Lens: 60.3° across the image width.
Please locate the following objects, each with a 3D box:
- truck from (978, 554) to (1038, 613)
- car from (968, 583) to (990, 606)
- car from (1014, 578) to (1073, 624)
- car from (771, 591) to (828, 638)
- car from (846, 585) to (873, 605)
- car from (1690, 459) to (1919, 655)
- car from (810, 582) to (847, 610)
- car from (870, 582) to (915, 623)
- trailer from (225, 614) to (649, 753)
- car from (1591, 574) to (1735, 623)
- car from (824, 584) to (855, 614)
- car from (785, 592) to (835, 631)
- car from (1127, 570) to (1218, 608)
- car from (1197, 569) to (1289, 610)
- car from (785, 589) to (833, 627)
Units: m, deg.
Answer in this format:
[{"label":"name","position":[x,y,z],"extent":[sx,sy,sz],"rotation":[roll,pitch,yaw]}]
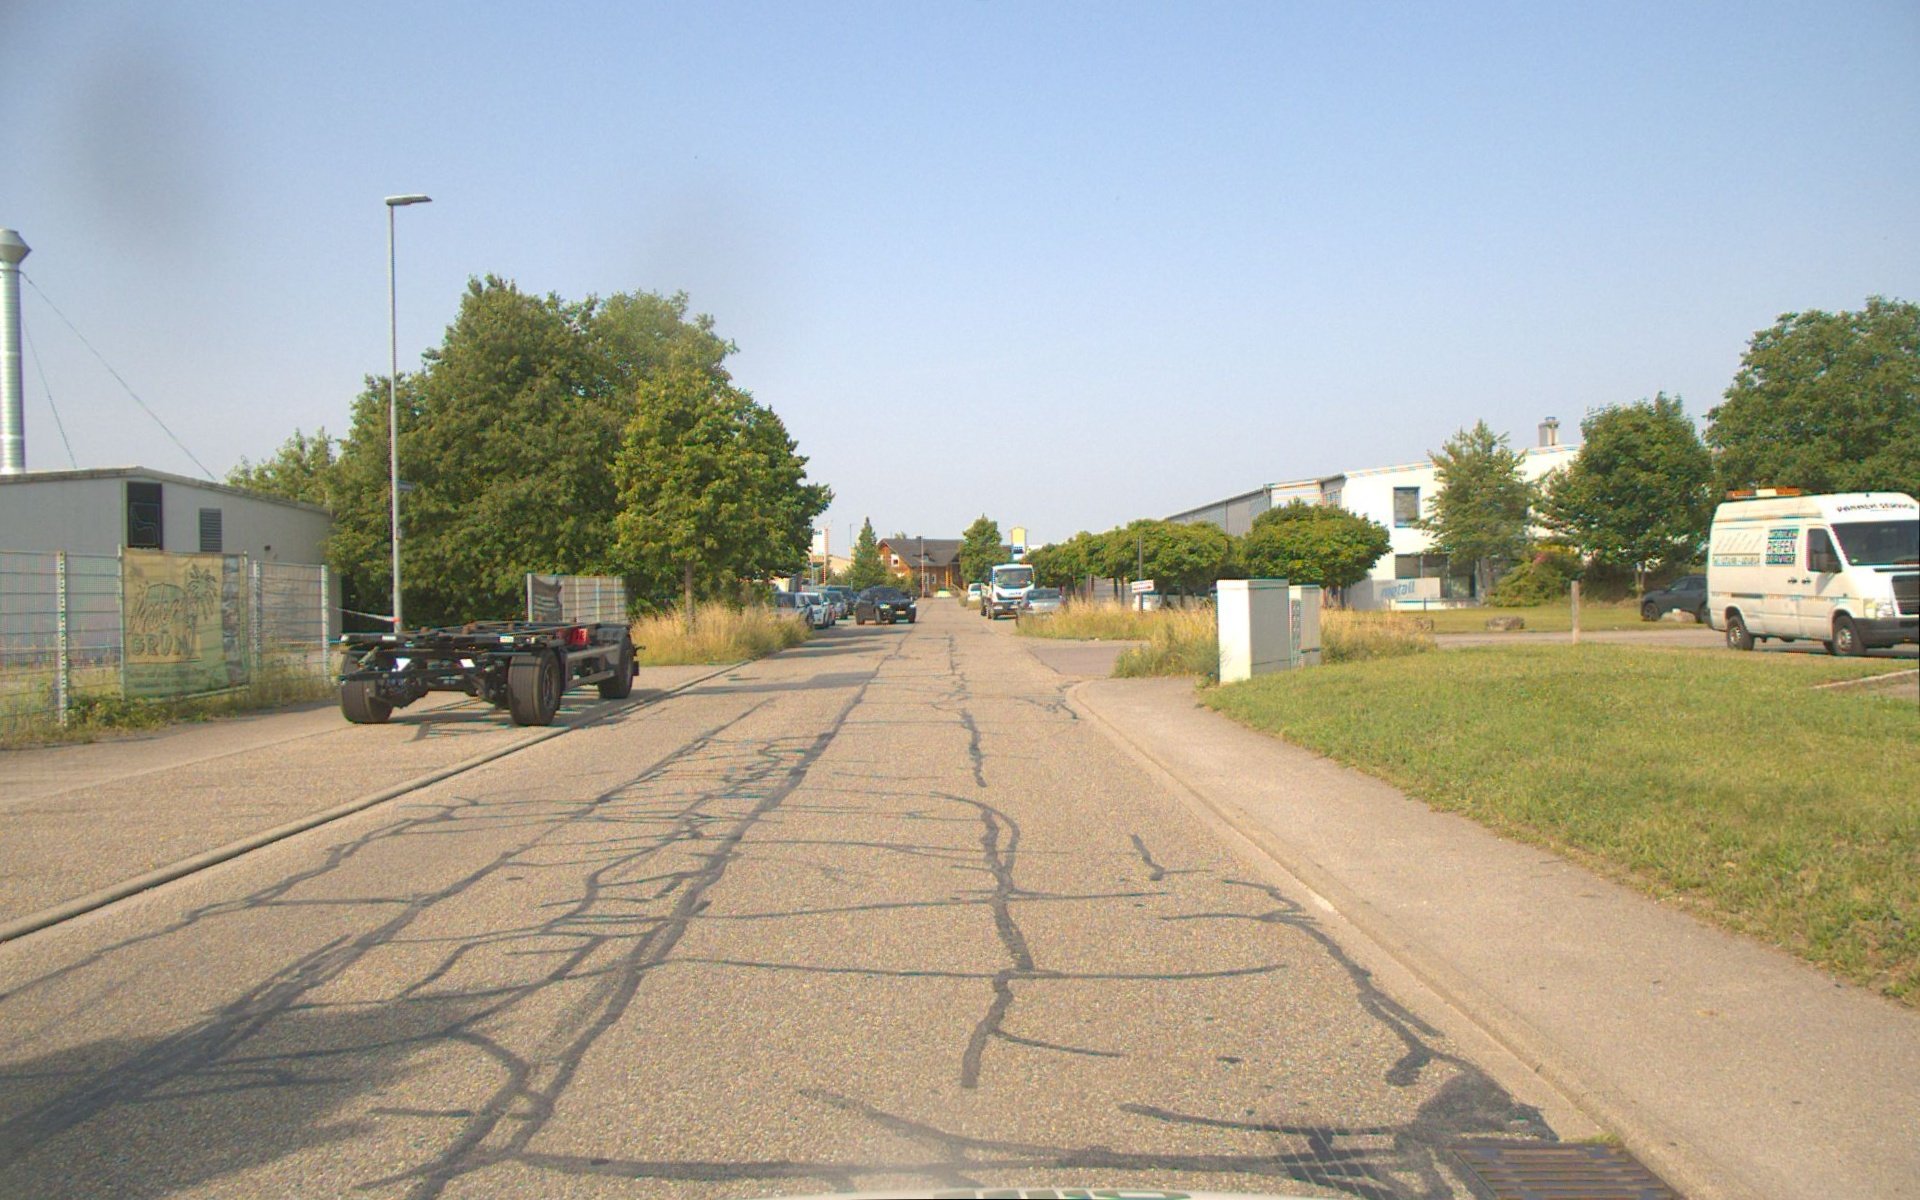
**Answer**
[{"label":"truck","position":[2.320,-0.808,82.186],"extent":[2.313,2.728,6.505],"rotation":[-1,0,-4]},{"label":"car","position":[1.637,-0.476,144.453],"extent":[1.800,1.957,3.756],"rotation":[-2,0,-1]},{"label":"car","position":[2.928,0.015,58.670],"extent":[1.758,1.544,4.423],"rotation":[-1,0,-1]},{"label":"car","position":[-5.672,0.490,58.700],"extent":[1.534,1.565,3.689],"rotation":[-1,0,2]},{"label":"car","position":[-7.161,-0.379,118.054],"extent":[1.763,1.411,3.637],"rotation":[0,0,-1]},{"label":"car","position":[13.839,-0.649,26.295],"extent":[1.933,2.753,5.882],"rotation":[-1,0,1]},{"label":"car","position":[-7.232,-0.223,91.063],"extent":[1.599,1.544,3.606],"rotation":[0,0,2]},{"label":"car","position":[-3.115,0.093,76.627],"extent":[1.818,1.744,4.226],"rotation":[-3,1,0]},{"label":"trailer","position":[-5.996,0.862,20.881],"extent":[2.530,1.205,9.361],"rotation":[0,0,-1]},{"label":"car","position":[22.024,-0.044,51.984],"extent":[1.754,1.433,4.325],"rotation":[-2,0,-18]},{"label":"car","position":[-7.628,-0.077,105.109],"extent":[1.763,1.805,4.202],"rotation":[0,0,-1]},{"label":"car","position":[-5.768,0.423,63.909],"extent":[1.546,1.469,3.963],"rotation":[0,0,1]},{"label":"car","position":[8.661,-0.457,67.231],"extent":[3.664,1.404,1.663],"rotation":[-2,1,-41]},{"label":"car","position":[12.162,-0.464,70.910],"extent":[1.659,1.616,4.502],"rotation":[-1,1,44]},{"label":"car","position":[-6.275,0.311,69.049],"extent":[1.649,1.495,4.253],"rotation":[0,0,-1]}]
